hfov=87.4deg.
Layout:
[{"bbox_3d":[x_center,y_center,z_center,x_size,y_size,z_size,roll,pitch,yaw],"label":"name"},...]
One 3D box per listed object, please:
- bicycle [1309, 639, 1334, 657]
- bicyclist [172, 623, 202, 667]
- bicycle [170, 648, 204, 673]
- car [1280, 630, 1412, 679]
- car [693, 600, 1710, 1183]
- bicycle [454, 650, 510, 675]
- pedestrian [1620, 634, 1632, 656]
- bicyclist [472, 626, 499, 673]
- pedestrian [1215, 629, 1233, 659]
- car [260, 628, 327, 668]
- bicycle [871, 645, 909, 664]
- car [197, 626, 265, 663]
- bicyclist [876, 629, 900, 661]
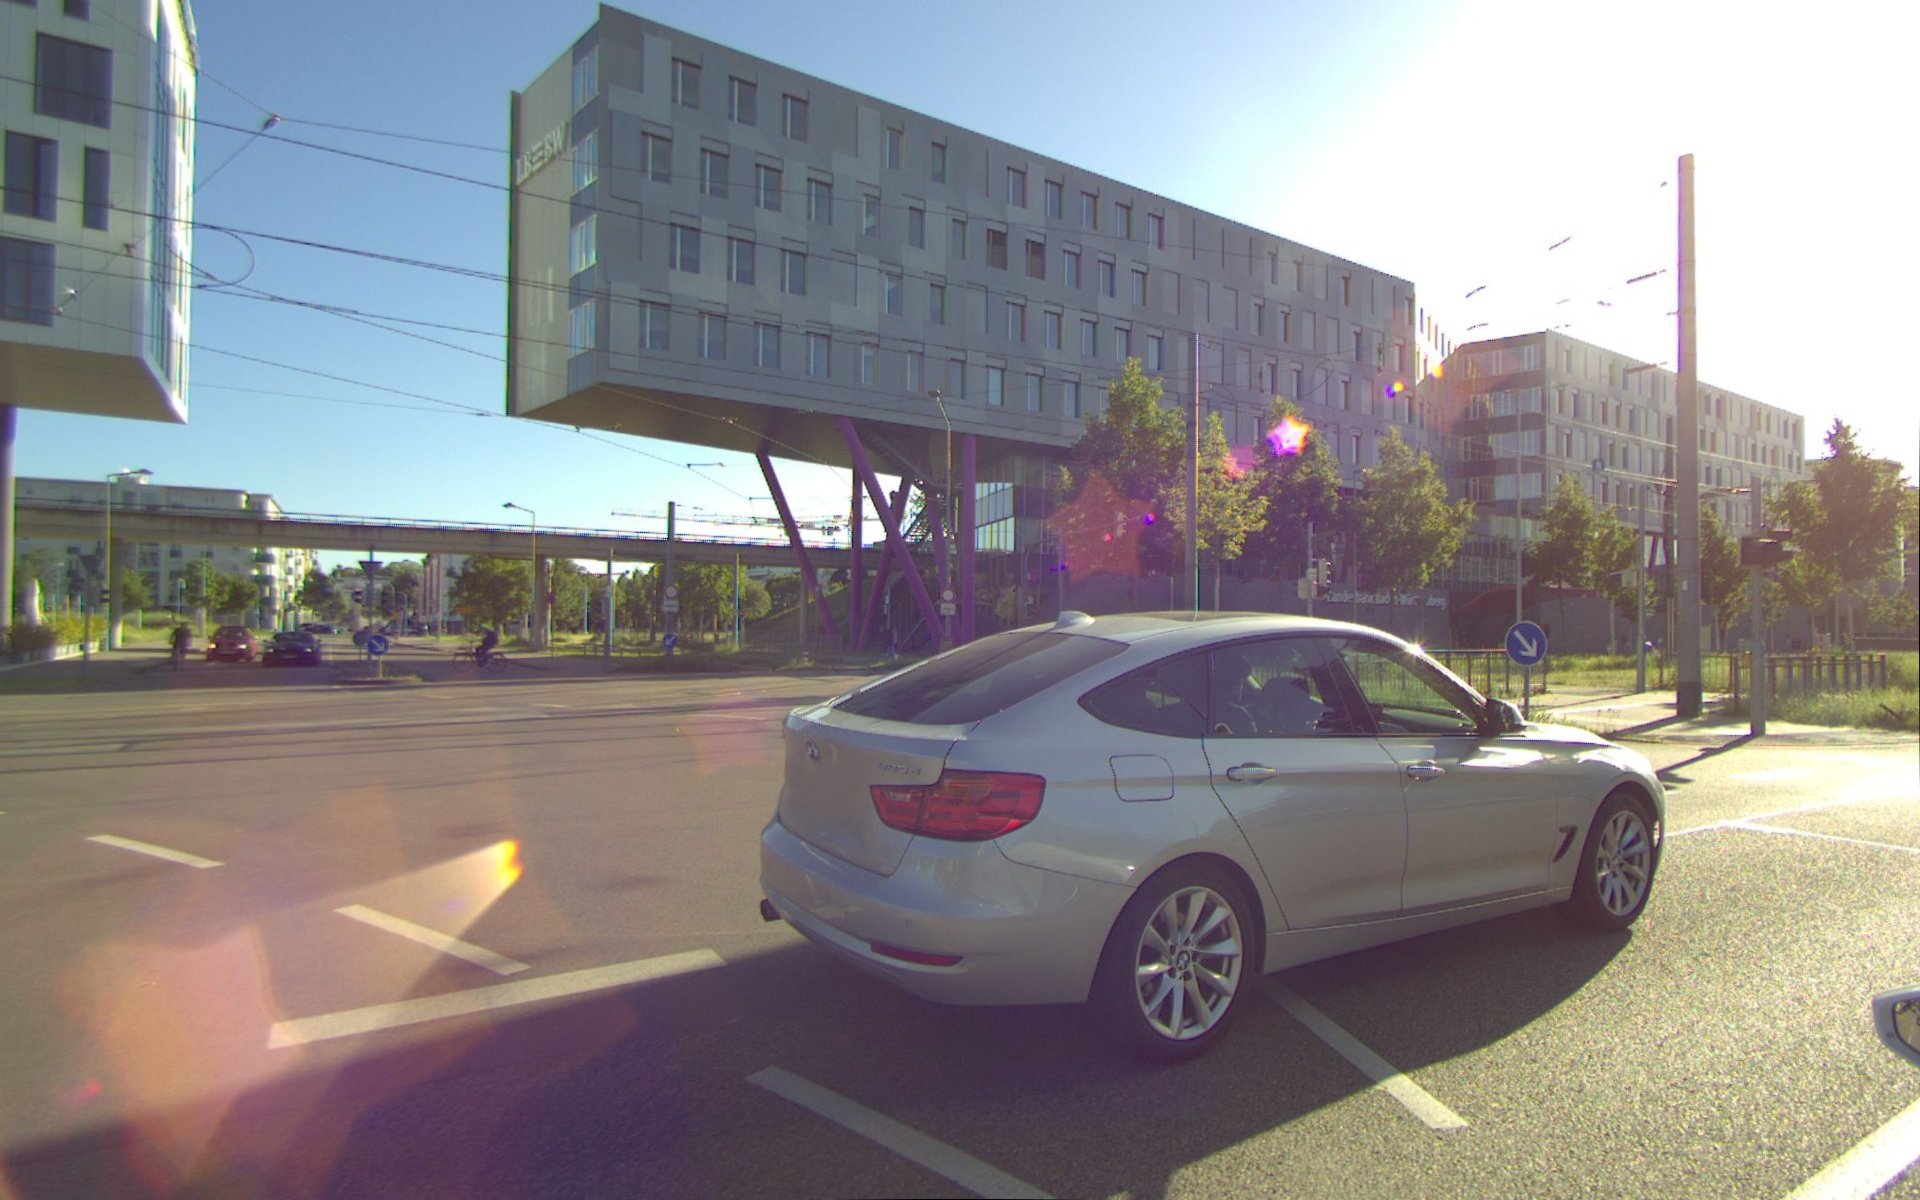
[{"bbox_3d":[24.302,3.219,67.436,1.954,1.188,0.517,2,-2,-33],"label":"bicycle"},{"bbox_3d":[-28.835,1.662,37.486,0.742,1.604,0.949,1,-1,-30],"label":"bicyclist"},{"bbox_3d":[-28.869,2.245,37.532,0.740,0.874,1.816,1,-2,-30],"label":"bicycle"},{"bbox_3d":[13.600,1.873,35.288,4.822,1.582,1.981,1,-2,-34],"label":"car"},{"bbox_3d":[1.409,0.844,4.754,4.856,1.547,1.789,2,0,-32],"label":"car"},{"bbox_3d":[-17.766,2.305,37.361,1.813,0.874,0.525,1,-1,-32],"label":"bicycle"},{"bbox_3d":[61.322,4.168,92.502,0.682,2.040,0.732,2,-2,-32],"label":"pedestrian"},{"bbox_3d":[-17.681,1.840,37.417,0.828,1.749,0.527,1,-1,-32],"label":"bicyclist"},{"bbox_3d":[16.193,2.674,61.563,0.861,1.846,0.717,1,-1,-32],"label":"pedestrian"},{"bbox_3d":[-27.712,1.960,41.881,1.976,1.586,3.970,1,-2,-29],"label":"car"},{"bbox_3d":[-3.234,2.510,46.292,1.673,0.874,0.572,1,-1,-32],"label":"bicycle"},{"bbox_3d":[-32.678,1.970,45.122,1.976,1.586,3.970,1,-2,-29],"label":"car"},{"bbox_3d":[-3.333,2.052,46.237,0.948,1.454,0.567,1,-1,-32],"label":"bicyclist"}]
